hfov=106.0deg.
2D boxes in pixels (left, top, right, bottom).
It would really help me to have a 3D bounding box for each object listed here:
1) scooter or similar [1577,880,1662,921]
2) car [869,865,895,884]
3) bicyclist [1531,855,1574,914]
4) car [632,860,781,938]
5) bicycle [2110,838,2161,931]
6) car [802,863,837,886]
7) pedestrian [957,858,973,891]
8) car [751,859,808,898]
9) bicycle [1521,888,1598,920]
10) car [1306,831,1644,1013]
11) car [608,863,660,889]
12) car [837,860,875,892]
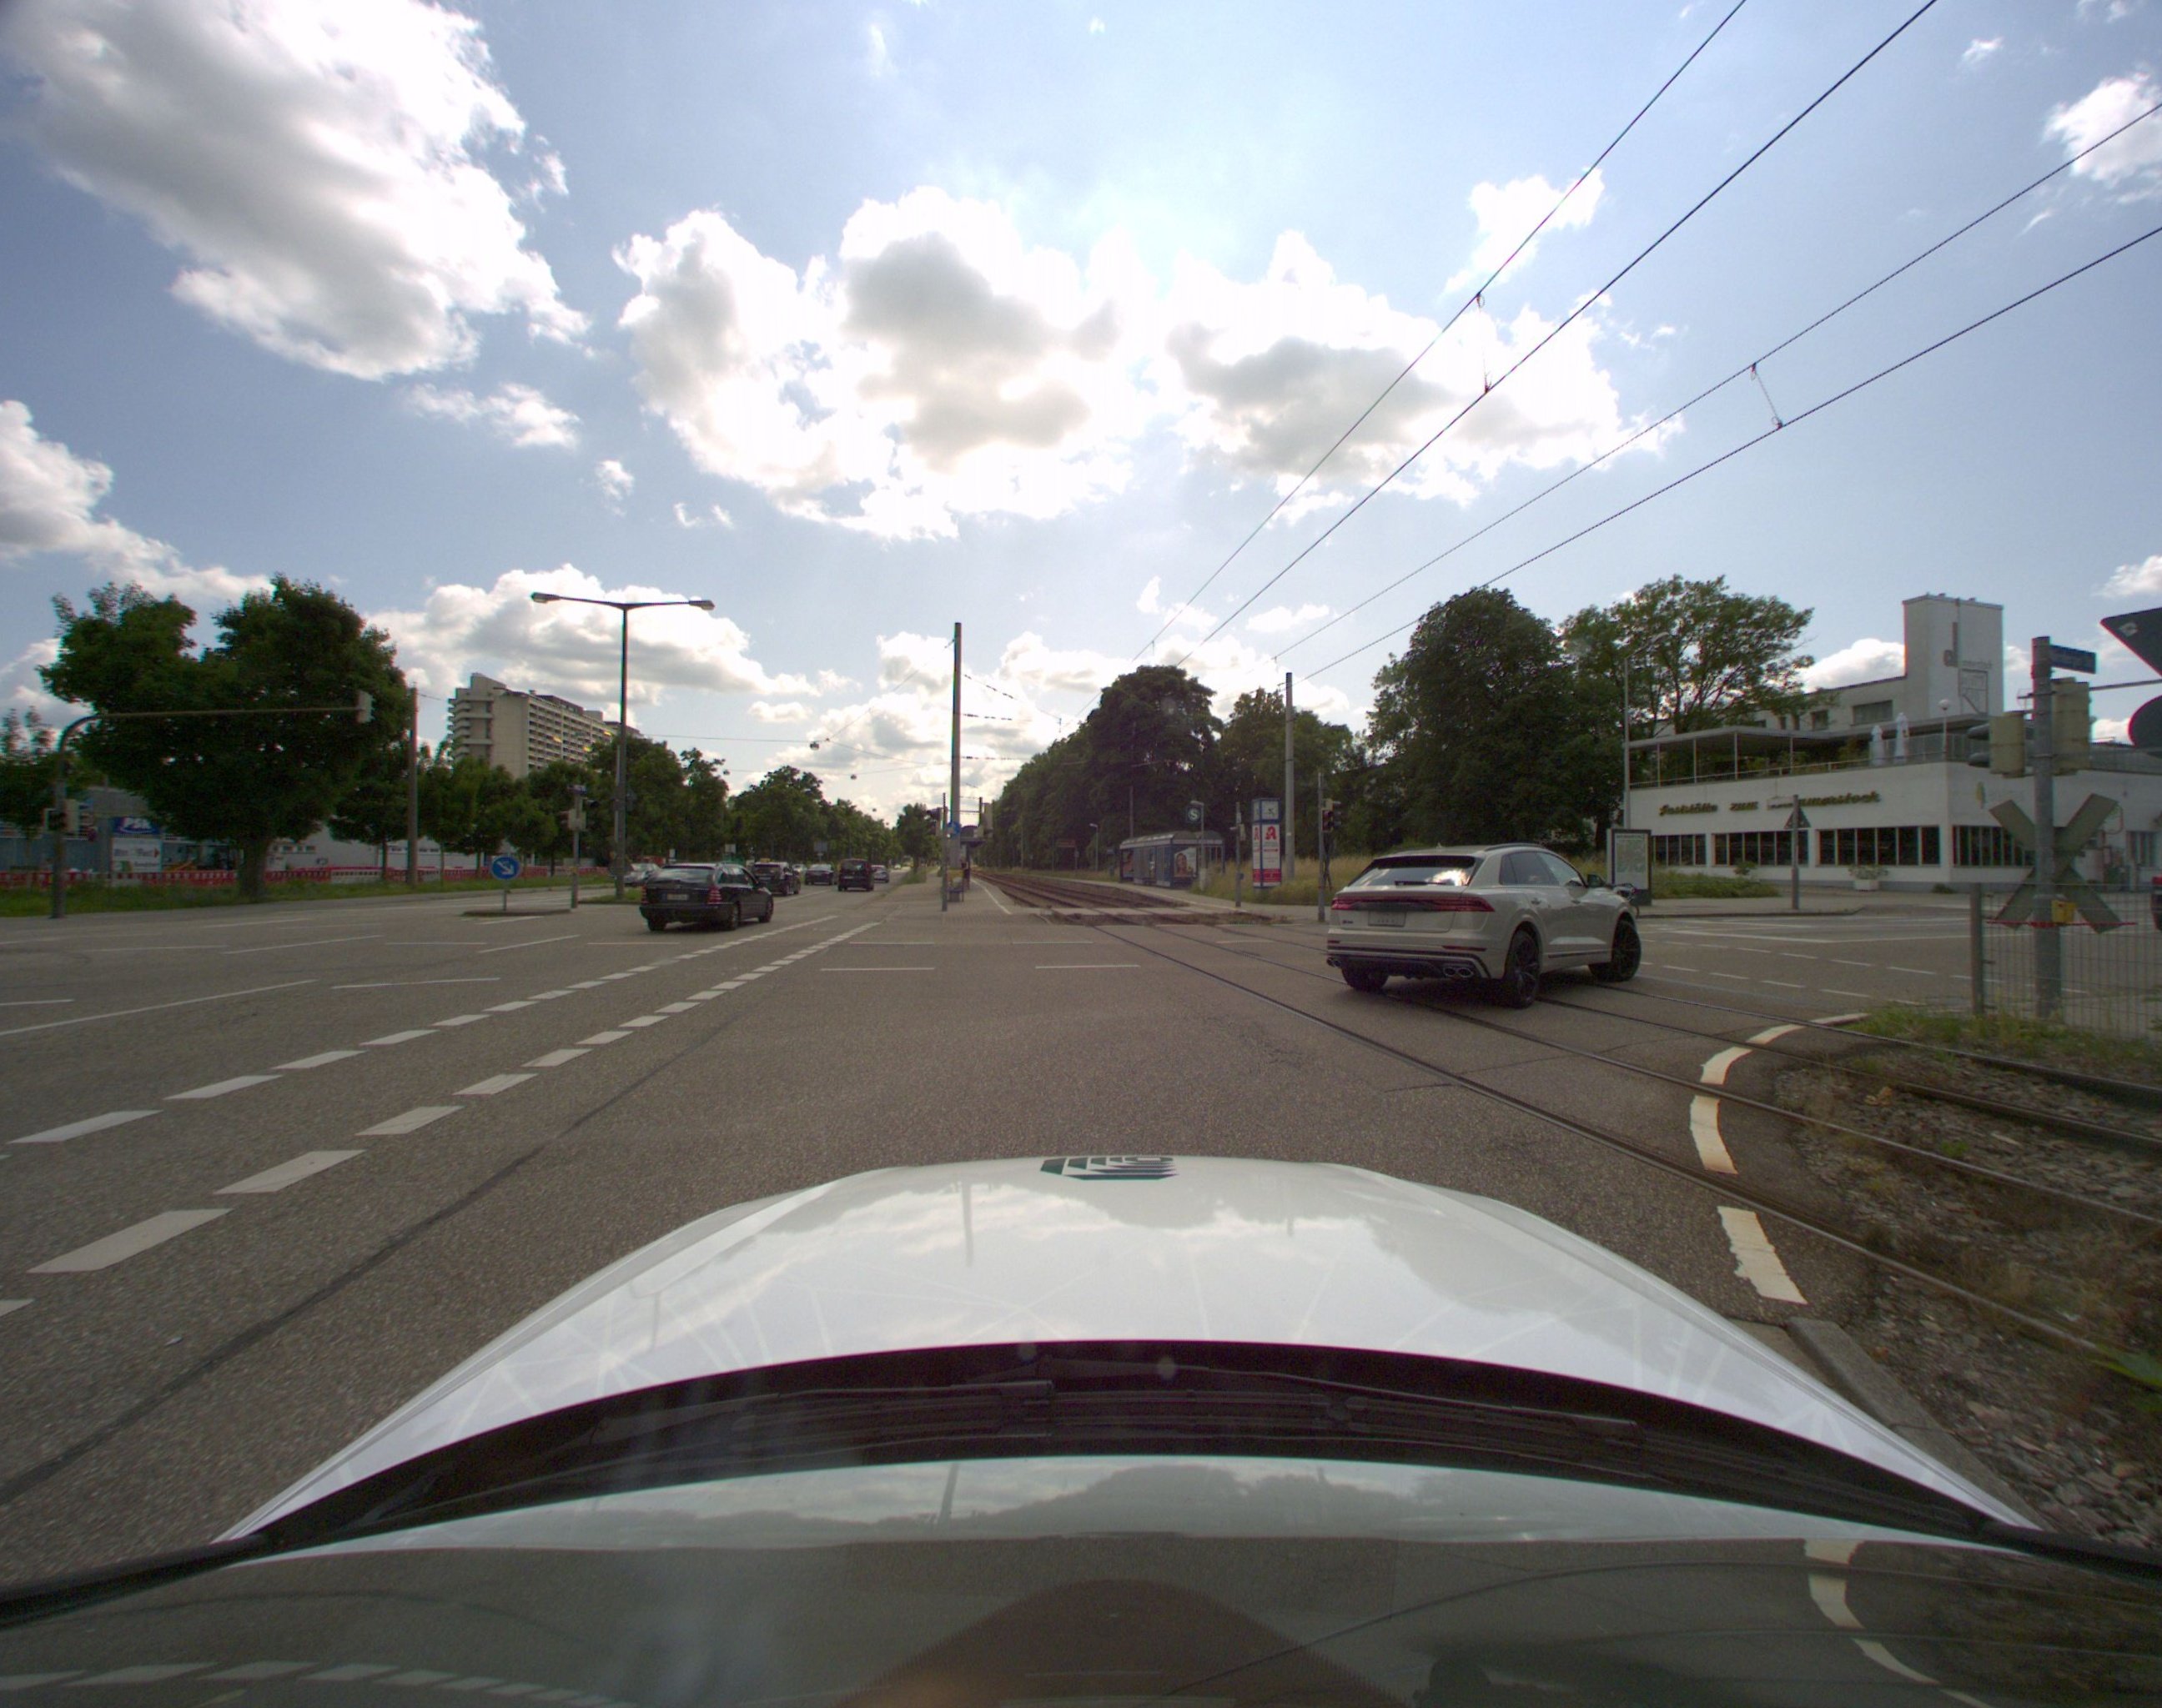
[{"bbox_3d":[13.827,1.178,20.928,1.573,0.979,0.960,0,-1,-7],"label":"scooter or similar"},{"bbox_3d":[-17.021,1.717,69.866,1.786,1.525,4.286,1,-1,-10],"label":"car"},{"bbox_3d":[11.999,0.771,20.739,0.838,1.475,0.454,0,-1,-7],"label":"bicyclist"},{"bbox_3d":[-8.044,0.903,17.956,1.754,1.466,4.420,2,-1,-9],"label":"car"},{"bbox_3d":[21.619,0.552,14.877,4.201,1.675,1.990,0,-1,-15],"label":"bicycle"},{"bbox_3d":[-18.240,1.421,56.916,1.865,1.505,3.984,1,-1,-11],"label":"car"},{"bbox_3d":[-5.427,0.960,38.169,0.655,1.514,0.714,0,-1,-18],"label":"pedestrian"},{"bbox_3d":[-13.901,1.112,37.816,1.787,1.668,4.322,1,-1,-12],"label":"car"},{"bbox_3d":[12.204,1.280,20.770,1.720,0.765,0.554,1,-1,-7],"label":"bicycle"},{"bbox_3d":[4.883,0.663,9.787,4.597,1.684,1.964,1,-1,-40],"label":"car"},{"bbox_3d":[-28.464,1.363,51.992,1.786,1.594,3.758,0,-1,-11],"label":"car"},{"bbox_3d":[-12.906,1.252,46.917,1.760,1.778,3.894,1,-1,-11],"label":"car"}]
